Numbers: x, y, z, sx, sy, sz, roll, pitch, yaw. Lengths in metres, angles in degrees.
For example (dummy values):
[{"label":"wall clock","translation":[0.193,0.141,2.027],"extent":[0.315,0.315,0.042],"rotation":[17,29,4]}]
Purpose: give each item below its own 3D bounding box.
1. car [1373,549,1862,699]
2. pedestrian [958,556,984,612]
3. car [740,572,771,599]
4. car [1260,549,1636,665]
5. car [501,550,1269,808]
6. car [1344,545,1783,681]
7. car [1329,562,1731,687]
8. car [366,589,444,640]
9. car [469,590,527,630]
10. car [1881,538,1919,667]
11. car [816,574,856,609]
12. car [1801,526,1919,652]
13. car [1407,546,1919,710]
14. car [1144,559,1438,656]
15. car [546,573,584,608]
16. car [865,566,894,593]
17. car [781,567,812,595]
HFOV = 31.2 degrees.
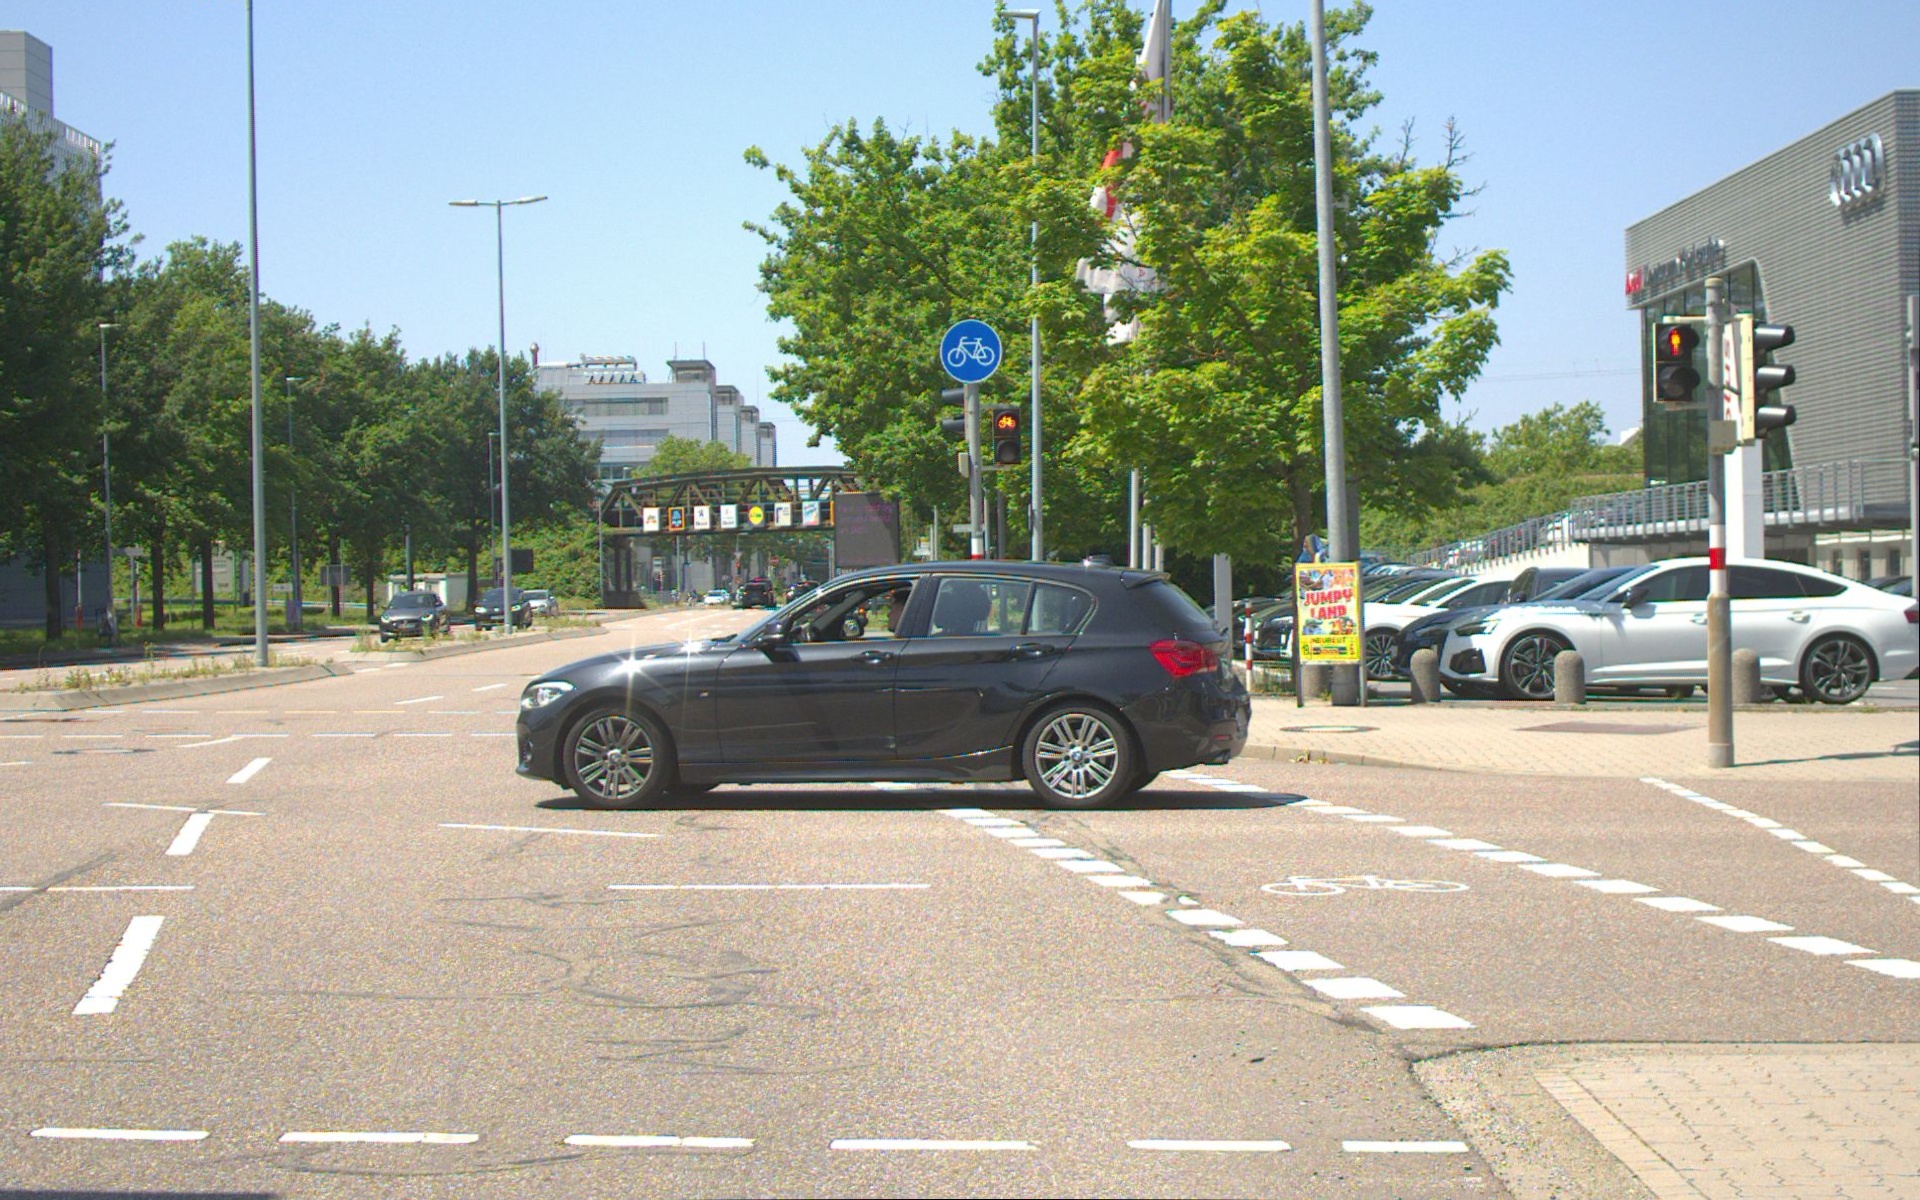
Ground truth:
[{"label":"car","translation":[6.793,0.252,35.917],"extent":[4.741,1.452,2.000],"rotation":[-1,0,2]},{"label":"pedestrian","translation":[0.304,-0.437,94.318],"extent":[0.668,1.505,0.736],"rotation":[-1,0,-1]},{"label":"car","translation":[-13.408,-0.967,225.434],"extent":[1.772,1.722,4.000],"rotation":[-1,0,-1]},{"label":"car","translation":[6.558,0.075,46.558],"extent":[4.741,1.452,2.000],"rotation":[-1,1,-2]},{"label":"car","translation":[-0.386,0.451,20.088],"extent":[4.224,1.406,1.671],"rotation":[-1,0,10]},{"label":"car","translation":[6.907,0.130,39.722],"extent":[4.741,1.452,2.000],"rotation":[-1,1,2]},{"label":"car","translation":[7.209,0.288,43.801],"extent":[4.741,1.452,2.000],"rotation":[-1,1,-2]},{"label":"car","translation":[-16.748,0.431,103.923],"extent":[1.732,1.422,3.706],"rotation":[-3,0,-1]},{"label":"car","translation":[-17.118,0.352,127.456],"extent":[1.684,1.406,3.665],"rotation":[-1,0,-1]},{"label":"car","translation":[16.844,-0.009,54.381],"extent":[3.987,2.007,2.000],"rotation":[-1,1,1]},{"label":"car","translation":[-3.799,-0.268,105.349],"extent":[1.137,1.038,2.308],"rotation":[-1,1,-1]},{"label":"car","translation":[16.141,-0.217,56.740],"extent":[3.987,2.007,2.000],"rotation":[-1,1,1]},{"label":"car","translation":[6.817,0.252,33.281],"extent":[4.741,1.452,2.000],"rotation":[-1,1,2]},{"label":"car","translation":[5.622,0.120,58.807],"extent":[4.741,1.452,2.000],"rotation":[-2,1,-2]},{"label":"car","translation":[-19.116,-0.487,166.354],"extent":[1.648,1.647,4.164],"rotation":[-1,1,-5]},{"label":"car","translation":[-5.157,-1.306,220.717],"extent":[1.772,1.722,4.000],"rotation":[-1,0,-1]},{"label":"car","translation":[-10.459,-1.231,219.988],"extent":[1.772,1.722,4.000],"rotation":[-1,0,-1]}]
